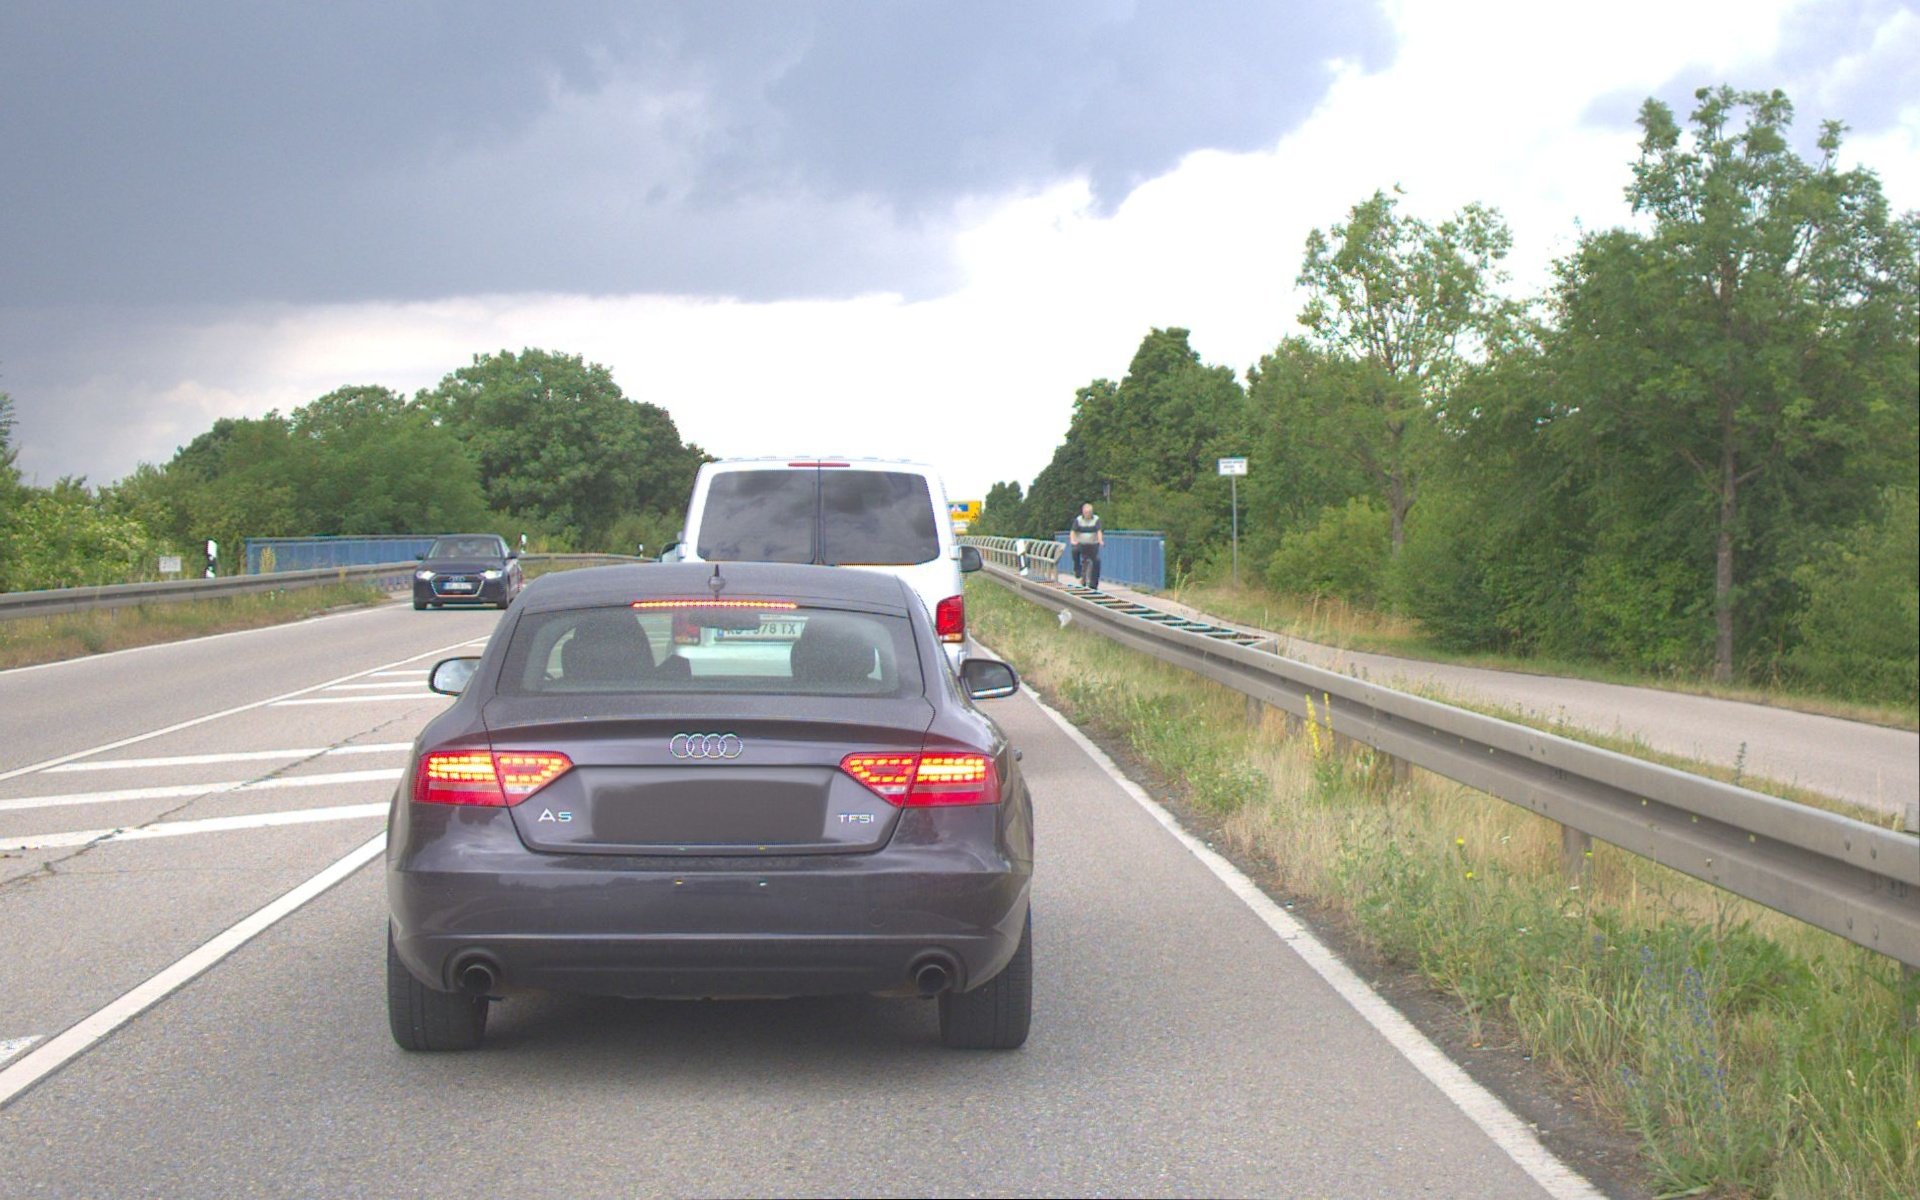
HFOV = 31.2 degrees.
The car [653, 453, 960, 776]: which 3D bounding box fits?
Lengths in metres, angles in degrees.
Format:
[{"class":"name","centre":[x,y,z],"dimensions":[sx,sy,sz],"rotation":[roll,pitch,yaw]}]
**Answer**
[{"class":"car","centre":[-0.967,0.063,22.270],"dimensions":[1.785,1.883,4.000],"rotation":[1,1,-2]}]

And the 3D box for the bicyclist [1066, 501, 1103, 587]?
[{"class":"bicyclist","centre":[2.399,-1.071,66.144],"dimensions":[0.647,1.639,0.866],"rotation":[-1,1,-2]}]

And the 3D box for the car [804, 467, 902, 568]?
[{"class":"car","centre":[-2.753,-2.140,89.268],"dimensions":[2.447,2.495,5.042],"rotation":[1,1,-1]}]

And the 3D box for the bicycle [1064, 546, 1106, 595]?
[{"class":"bicycle","centre":[2.401,-0.570,66.147],"dimensions":[0.666,0.917,1.830],"rotation":[-1,1,-2]}]

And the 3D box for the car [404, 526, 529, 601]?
[{"class":"car","centre":[-9.253,-0.703,64.702],"dimensions":[1.862,1.371,4.000],"rotation":[0,1,-1]}]

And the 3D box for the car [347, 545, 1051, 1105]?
[{"class":"car","centre":[-0.728,0.556,10.821],"dimensions":[1.785,1.419,4.000],"rotation":[1,1,-2]}]
